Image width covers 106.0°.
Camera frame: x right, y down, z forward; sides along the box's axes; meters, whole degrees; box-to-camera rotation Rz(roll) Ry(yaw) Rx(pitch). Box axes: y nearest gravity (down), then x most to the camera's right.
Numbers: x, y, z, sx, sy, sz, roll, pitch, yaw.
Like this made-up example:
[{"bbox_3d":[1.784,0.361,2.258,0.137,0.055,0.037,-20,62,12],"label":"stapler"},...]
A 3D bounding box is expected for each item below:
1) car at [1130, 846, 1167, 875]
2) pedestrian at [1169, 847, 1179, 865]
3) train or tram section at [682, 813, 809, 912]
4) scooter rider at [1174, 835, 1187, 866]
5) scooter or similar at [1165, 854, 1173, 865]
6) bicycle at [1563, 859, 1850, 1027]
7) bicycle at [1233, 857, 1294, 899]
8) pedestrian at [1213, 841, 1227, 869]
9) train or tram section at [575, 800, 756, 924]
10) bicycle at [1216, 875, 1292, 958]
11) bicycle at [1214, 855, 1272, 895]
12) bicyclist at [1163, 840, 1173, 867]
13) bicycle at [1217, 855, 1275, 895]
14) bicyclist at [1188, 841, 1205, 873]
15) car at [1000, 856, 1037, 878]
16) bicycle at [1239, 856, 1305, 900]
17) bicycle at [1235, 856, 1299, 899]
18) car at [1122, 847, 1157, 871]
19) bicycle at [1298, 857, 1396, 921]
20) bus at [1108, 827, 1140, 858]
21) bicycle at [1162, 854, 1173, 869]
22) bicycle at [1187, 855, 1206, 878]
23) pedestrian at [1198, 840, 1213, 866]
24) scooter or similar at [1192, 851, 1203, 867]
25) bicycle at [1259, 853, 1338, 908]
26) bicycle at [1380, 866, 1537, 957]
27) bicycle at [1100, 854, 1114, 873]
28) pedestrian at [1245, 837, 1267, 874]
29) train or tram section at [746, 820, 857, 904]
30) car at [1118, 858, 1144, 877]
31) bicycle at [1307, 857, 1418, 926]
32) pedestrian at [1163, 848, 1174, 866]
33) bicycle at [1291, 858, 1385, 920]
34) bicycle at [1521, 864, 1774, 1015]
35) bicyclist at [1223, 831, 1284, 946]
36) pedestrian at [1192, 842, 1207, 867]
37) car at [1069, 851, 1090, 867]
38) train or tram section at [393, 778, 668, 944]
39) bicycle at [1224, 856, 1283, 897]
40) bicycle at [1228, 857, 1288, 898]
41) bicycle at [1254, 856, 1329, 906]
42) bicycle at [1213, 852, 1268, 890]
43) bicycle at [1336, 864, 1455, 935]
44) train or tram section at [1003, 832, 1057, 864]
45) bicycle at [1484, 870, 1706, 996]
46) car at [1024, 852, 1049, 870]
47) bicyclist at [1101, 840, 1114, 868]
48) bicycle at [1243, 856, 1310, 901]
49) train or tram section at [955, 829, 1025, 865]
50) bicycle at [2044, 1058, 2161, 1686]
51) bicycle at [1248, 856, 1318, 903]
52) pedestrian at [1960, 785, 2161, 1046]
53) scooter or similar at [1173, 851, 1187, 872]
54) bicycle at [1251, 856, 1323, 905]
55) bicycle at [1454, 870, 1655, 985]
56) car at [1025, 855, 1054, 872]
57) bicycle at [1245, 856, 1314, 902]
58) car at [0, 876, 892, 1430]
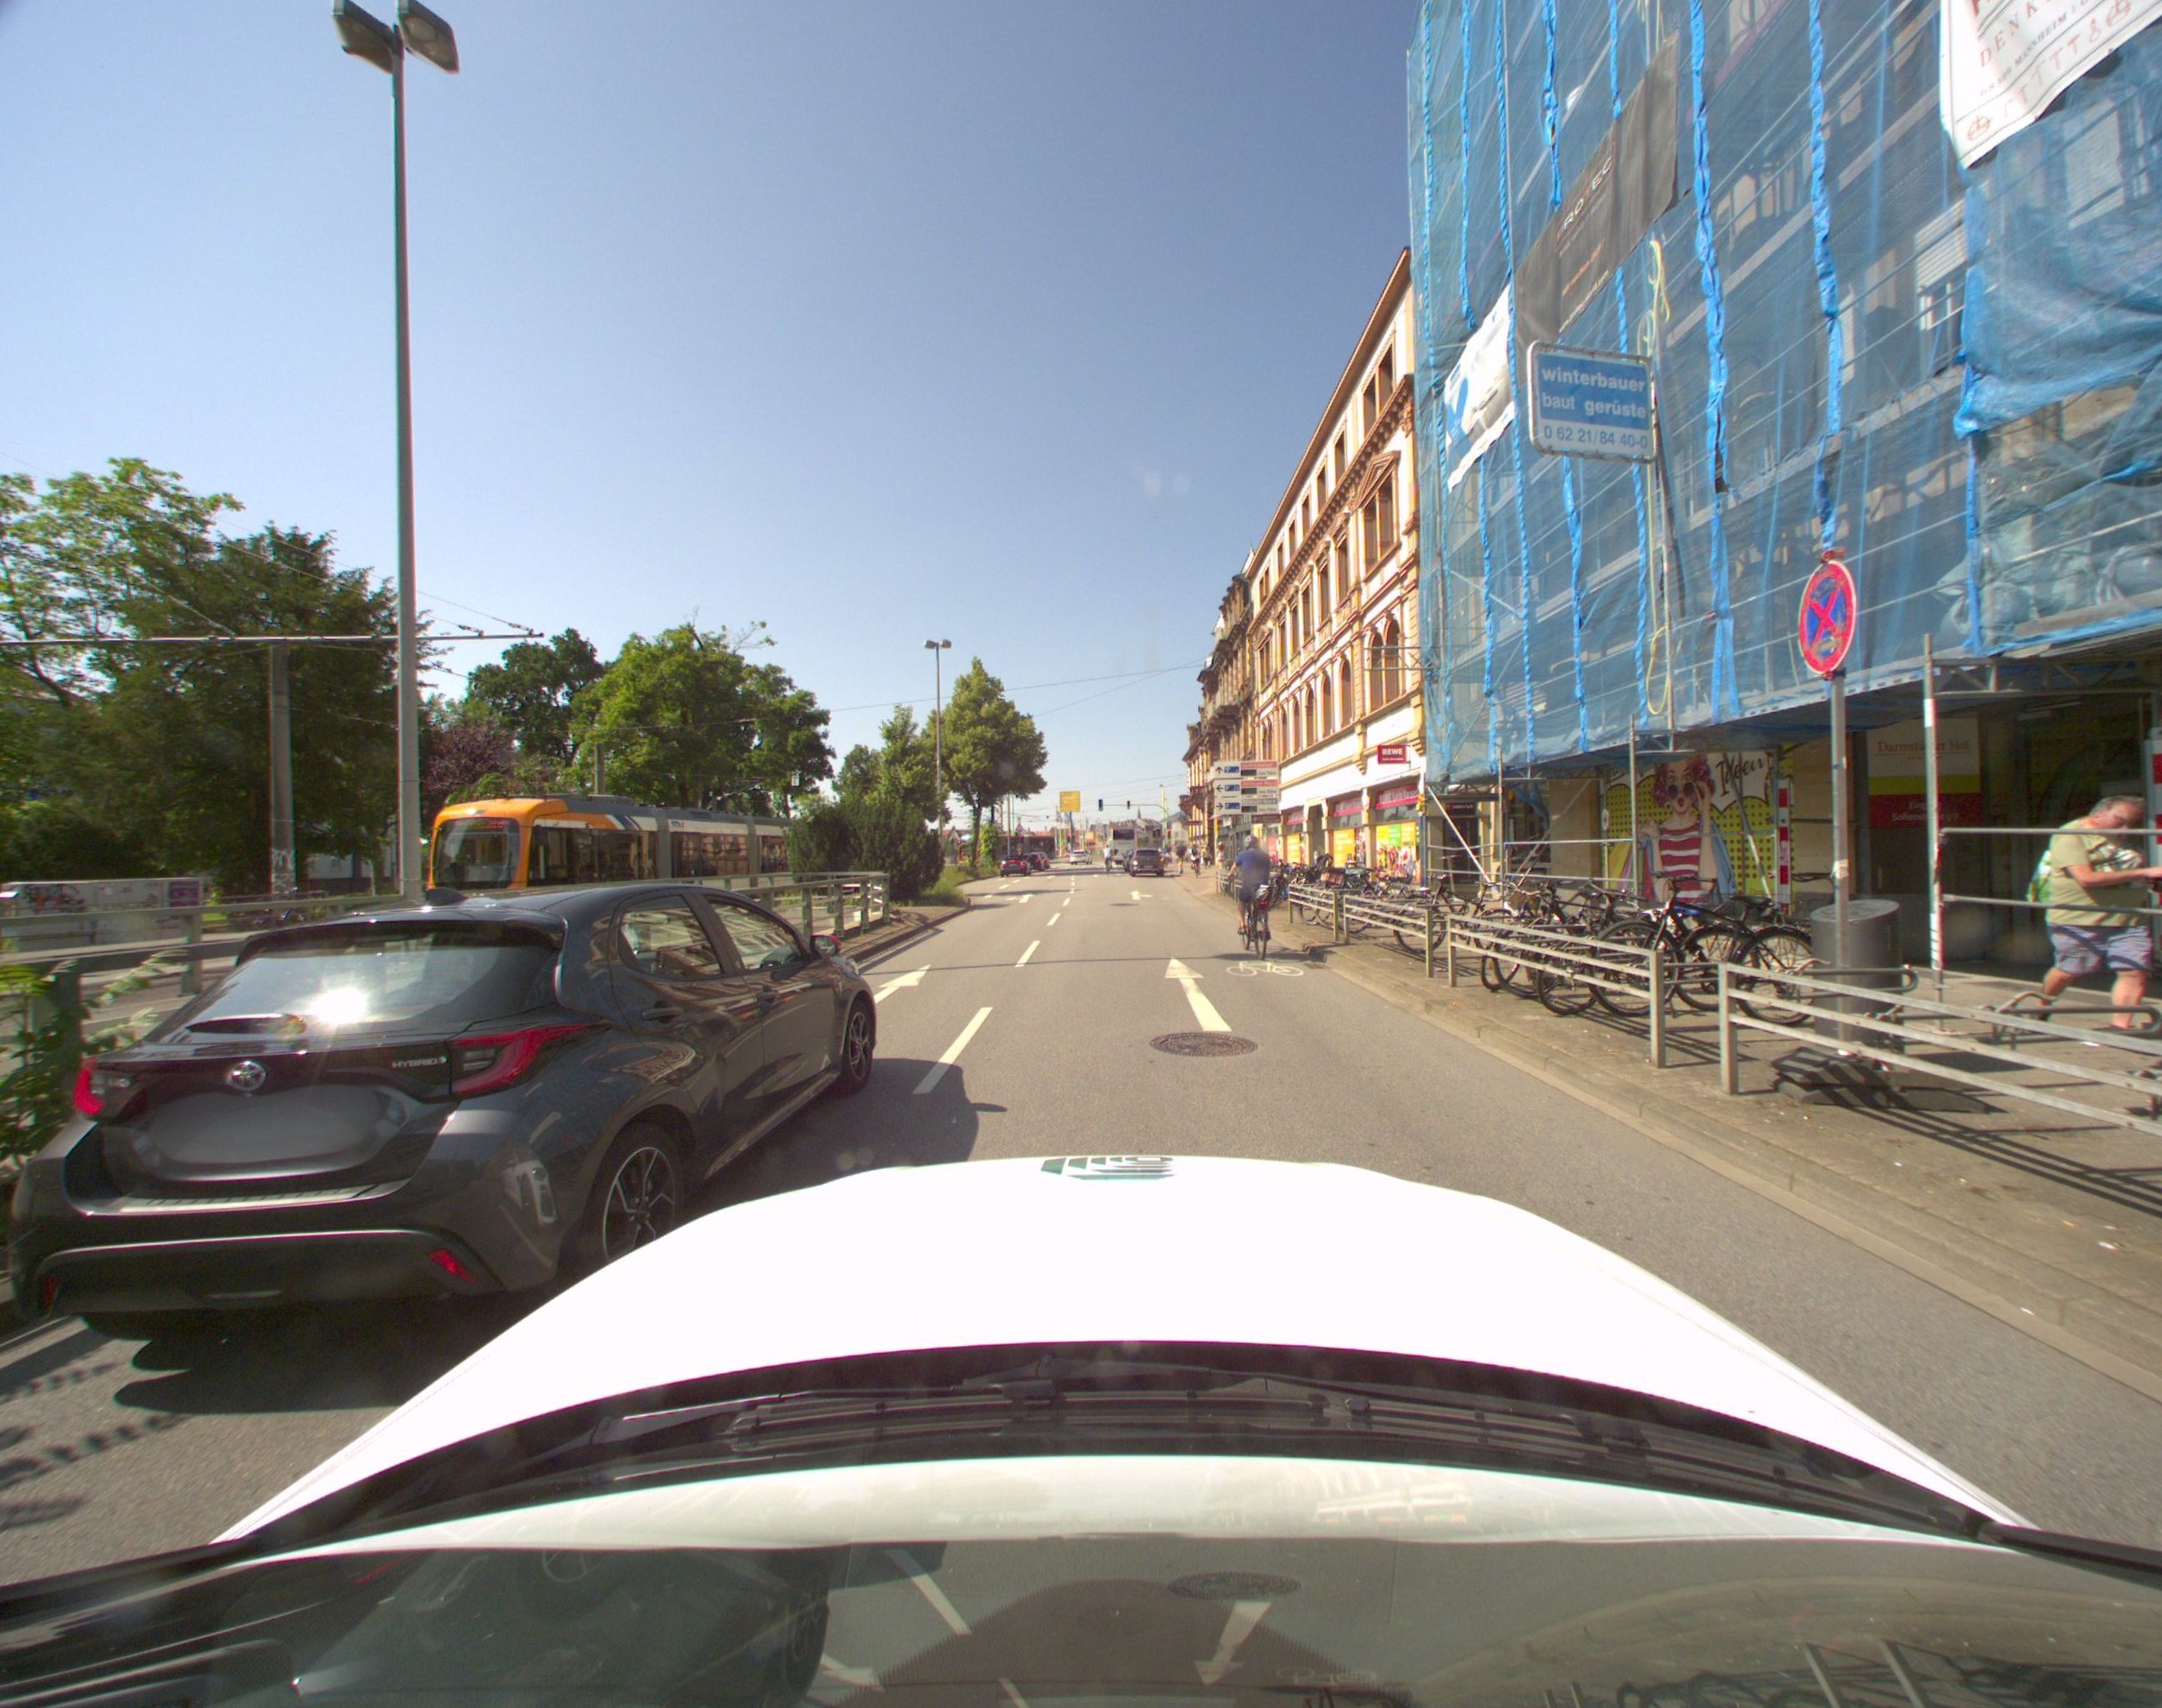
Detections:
[{"bbox_3d":[3.699,0.382,44.950,1.866,1.493,4.003,1,-1,3],"label":"car"},{"bbox_3d":[8.710,0.202,76.245,0.859,1.640,0.875,-2,0,0],"label":"pedestrian"},{"bbox_3d":[-13.244,0.328,32.683,2.604,3.581,5.358,1,-1,2],"label":"train or tram section"},{"bbox_3d":[5.782,-0.199,47.446,0.685,1.729,0.779,1,-1,4],"label":"scooter rider"},{"bbox_3d":[7.988,0.503,73.941,0.598,1.047,0.799,2,-1,0],"label":"scooter or similar"},{"bbox_3d":[4.653,0.637,6.135,1.686,1.179,0.609,1,-1,2],"label":"bicycle"},{"bbox_3d":[5.262,0.677,23.520,1.686,1.179,0.460,1,-1,2],"label":"bicycle"},{"bbox_3d":[8.318,0.043,48.706,0.652,1.621,0.815,-1,0,0],"label":"pedestrian"},{"bbox_3d":[-13.425,0.260,26.985,2.603,3.581,6.105,1,-1,2],"label":"train or tram section"},{"bbox_3d":[2.540,0.883,12.138,0.731,1.093,1.911,2,-1,1],"label":"bicycle"},{"bbox_3d":[5.119,0.650,25.804,1.686,1.178,0.609,-3,0,2],"label":"bicycle"},{"bbox_3d":[6.441,-0.036,60.479,0.685,1.962,0.779,1,-1,4],"label":"bicyclist"},{"bbox_3d":[5.084,0.644,25.150,1.686,1.178,0.609,-1,0,2],"label":"bicycle"},{"bbox_3d":[5.747,0.170,40.700,0.686,1.577,1.050,1,-1,1],"label":"bicyclist"},{"bbox_3d":[-4.023,0.823,53.069,1.808,1.332,4.003,1,-1,3],"label":"car"},{"bbox_3d":[5.247,0.652,22.391,1.686,1.179,0.514,1,-1,2],"label":"bicycle"},{"bbox_3d":[5.234,0.670,22.953,1.686,1.179,0.459,1,-1,2],"label":"bicycle"},{"bbox_3d":[3.872,0.370,54.446,1.988,1.493,3.998,2,-1,-1],"label":"car"},{"bbox_3d":[5.049,0.661,15.513,1.686,1.179,0.609,1,-1,2],"label":"bicycle"},{"bbox_3d":[4.311,-1.070,81.548,2.957,2.776,8.647,1,-1,3],"label":"bus"},{"bbox_3d":[6.422,0.550,60.520,0.730,1.093,1.900,1,-1,5],"label":"bicycle"},{"bbox_3d":[5.749,0.623,40.656,0.731,1.093,1.898,1,-1,2],"label":"bicycle"},{"bbox_3d":[8.068,-0.045,52.797,0.859,1.640,0.875,-1,0,0],"label":"pedestrian"},{"bbox_3d":[7.818,0.360,54.674,0.598,1.047,0.799,2,-1,0],"label":"scooter or similar"},{"bbox_3d":[5.081,0.603,19.062,1.686,1.241,0.609,1,-1,2],"label":"bicycle"},{"bbox_3d":[4.813,0.723,10.452,1.732,1.109,0.609,1,-1,2],"label":"bicycle"},{"bbox_3d":[1.485,0.544,46.593,0.731,1.093,1.898,2,-1,1],"label":"bicycle"},{"bbox_3d":[8.034,0.085,37.401,0.753,1.656,0.837,-4,-2,1],"label":"pedestrian"},{"bbox_3d":[-13.056,0.401,38.778,2.603,3.581,6.900,1,-1,2],"label":"train or tram section"},{"bbox_3d":[4.150,1.112,67.833,1.985,1.493,4.003,1,-1,3],"label":"car"},{"bbox_3d":[4.987,0.664,14.504,1.764,1.179,0.609,1,-1,2],"label":"bicycle"},{"bbox_3d":[7.993,0.252,74.639,0.859,1.640,0.875,2,-1,0],"label":"pedestrian"},{"bbox_3d":[5.087,0.686,16.186,1.686,1.179,0.609,1,-1,2],"label":"bicycle"},{"bbox_3d":[4.692,0.686,6.818,1.686,1.179,0.609,1,-1,2],"label":"bicycle"},{"bbox_3d":[2.548,0.500,12.094,0.686,1.616,0.918,1,-1,1],"label":"bicyclist"},{"bbox_3d":[7.828,0.019,53.944,0.859,1.640,0.875,2,-1,0],"label":"pedestrian"},{"bbox_3d":[-0.132,0.528,81.555,1.851,1.507,4.003,1,-1,3],"label":"car"},{"bbox_3d":[-13.596,0.187,20.871,2.604,3.581,6.105,1,-1,2],"label":"train or tram section"},{"bbox_3d":[5.182,0.674,24.551,1.687,1.179,0.470,1,-1,2],"label":"bicycle"},{"bbox_3d":[5.242,0.683,24.132,1.687,1.179,0.470,1,-1,2],"label":"bicycle"},{"bbox_3d":[5.096,0.644,19.744,1.686,1.179,0.498,1,-1,2],"label":"bicycle"},{"bbox_3d":[5.162,0.553,26.436,1.686,1.178,0.609,-1,0,2],"label":"bicycle"},{"bbox_3d":[5.034,0.719,13.097,1.686,1.087,0.609,1,-1,2],"label":"bicycle"},{"bbox_3d":[-6.043,-0.628,98.317,2.797,3.581,8.272,1,-1,25],"label":"train or tram section"},{"bbox_3d":[4.750,0.710,7.595,1.686,1.097,0.609,1,-1,2],"label":"bicycle"},{"bbox_3d":[-3.373,0.566,62.355,1.445,1.301,4.003,1,-1,3],"label":"car"},{"bbox_3d":[1.498,0.020,46.635,0.686,1.577,1.049,2,-1,0],"label":"bicyclist"},{"bbox_3d":[5.222,0.661,21.821,1.686,1.179,0.457,1,-1,2],"label":"bicycle"},{"bbox_3d":[-9.858,-0.692,90.056,2.797,3.581,10.088,1,-1,25],"label":"train or tram section"},{"bbox_3d":[2.332,0.966,0.608,0.731,1.093,2.130,2,-1,1],"label":"bicycle"},{"bbox_3d":[5.159,0.653,20.822,1.686,1.179,0.452,1,-1,2],"label":"bicycle"},{"bbox_3d":[6.585,0.386,5.425,0.642,1.601,0.764,2,-1,-5],"label":"pedestrian"},{"bbox_3d":[5.747,0.434,47.399,0.685,1.167,1.465,1,-1,4],"label":"scooter or similar"},{"bbox_3d":[5.119,0.648,20.283,1.686,1.179,0.491,1,-1,2],"label":"bicycle"},{"bbox_3d":[4.761,0.720,8.255,1.686,1.097,0.609,1,-1,2],"label":"bicycle"},{"bbox_3d":[-3.531,0.831,69.610,2.029,1.332,4.003,1,-1,3],"label":"car"},{"bbox_3d":[5.185,0.644,21.328,1.686,1.179,0.463,1,-1,2],"label":"bicycle"},{"bbox_3d":[-2.327,0.878,4.275,1.772,1.475,3.998,0,-1,-1],"label":"car"}]
